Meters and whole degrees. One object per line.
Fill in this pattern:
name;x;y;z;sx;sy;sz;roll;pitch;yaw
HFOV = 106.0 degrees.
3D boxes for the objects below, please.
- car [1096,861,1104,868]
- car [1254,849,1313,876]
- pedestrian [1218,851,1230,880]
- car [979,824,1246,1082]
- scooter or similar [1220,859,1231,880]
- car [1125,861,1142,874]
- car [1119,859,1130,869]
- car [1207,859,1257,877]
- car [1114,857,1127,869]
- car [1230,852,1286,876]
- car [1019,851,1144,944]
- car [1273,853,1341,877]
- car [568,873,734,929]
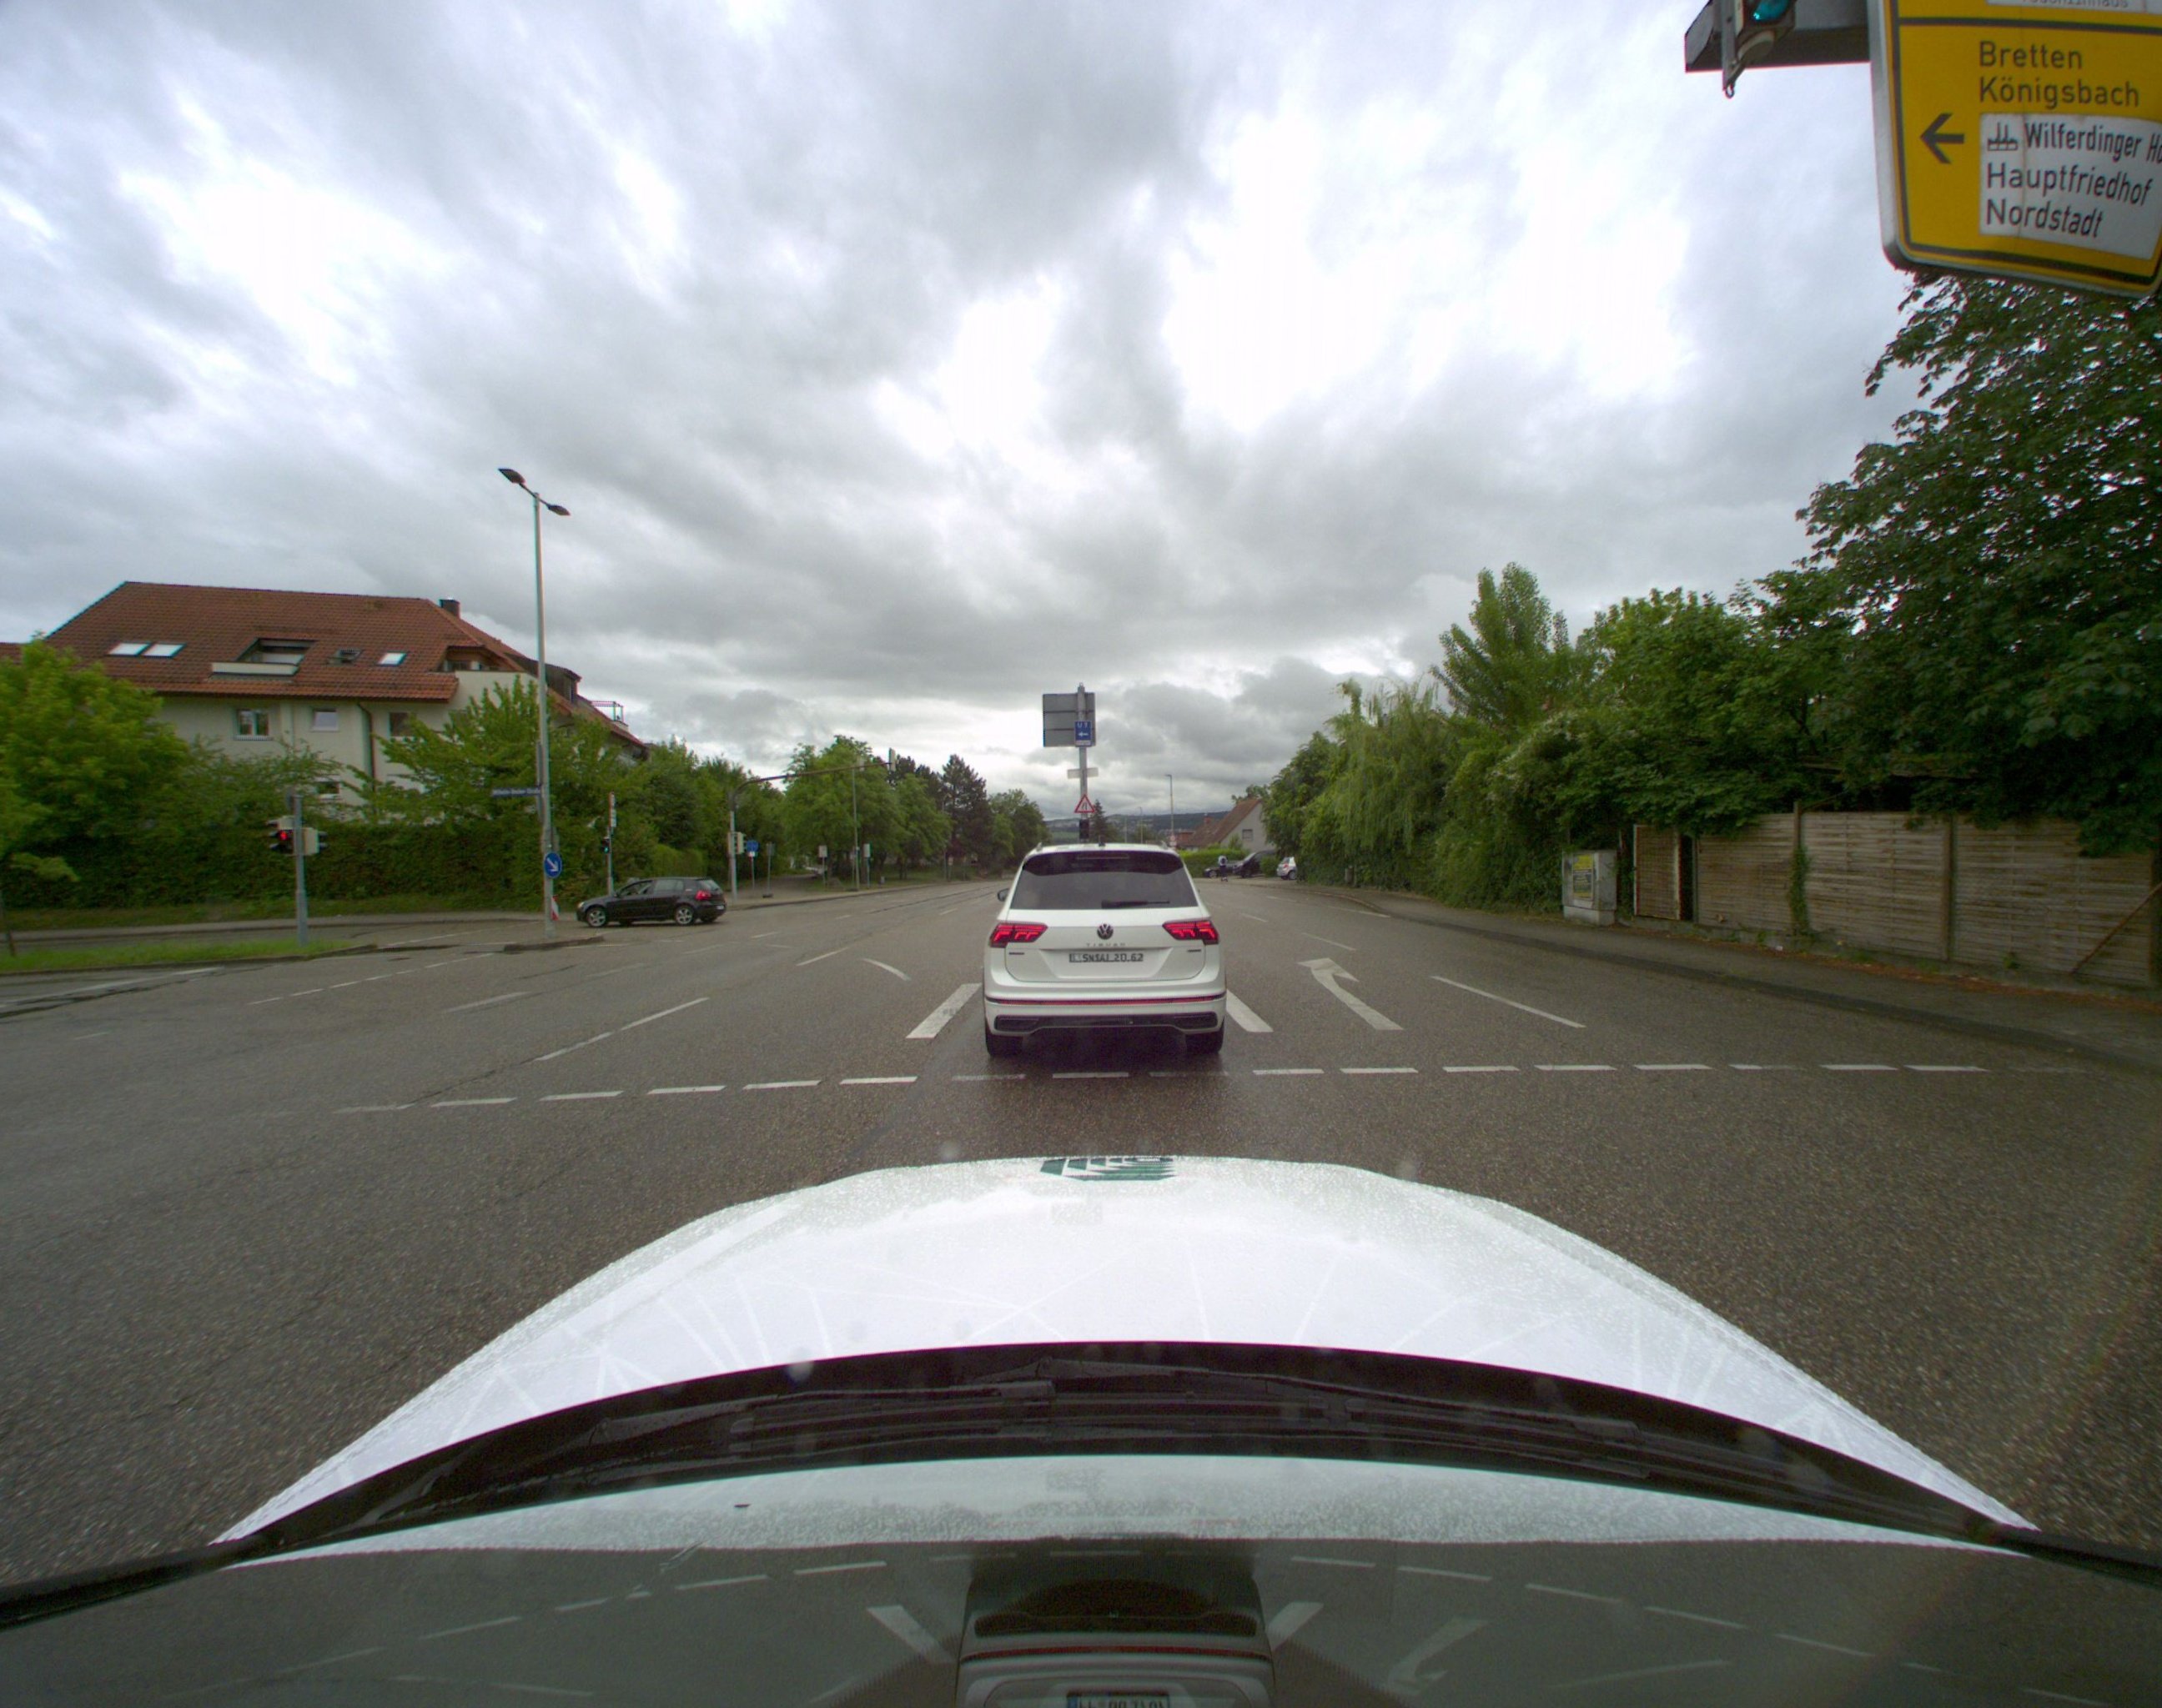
car;4.687;2.625;196.997;1.843;1.574;4.002;-2;0;2
car;14.047;0.582;56.702;3.618;1.746;1.706;-2;0;-3
pedestrian;9.839;0.788;56.127;0.654;2.002;0.717;-1;-1;-2
car;0.240;0.661;7.557;1.757;1.696;4.273;-1;0;1
scooter or similar;9.986;1.063;56.209;0.460;1.361;1.383;-1;0;-2
car;6.250;1.577;96.781;1.843;1.574;4.002;0;0;2
car;7.429;1.693;140.223;1.843;1.574;4.002;-2;0;2
car;11.813;1.091;63.847;3.676;1.370;1.518;0;-2;0
car;5.592;1.292;115.260;1.843;1.574;4.002;-2;0;2
car;12.827;0.725;59.099;3.619;1.626;1.789;-1;-1;-3
car;-0.116;0.780;16.418;1.799;1.589;3.911;-2;0;-11
car;14.201;0.719;51.290;3.709;1.395;1.725;-2;-2;-6
car;-12.888;1.383;24.601;3.979;1.479;1.764;-2;0;-4
